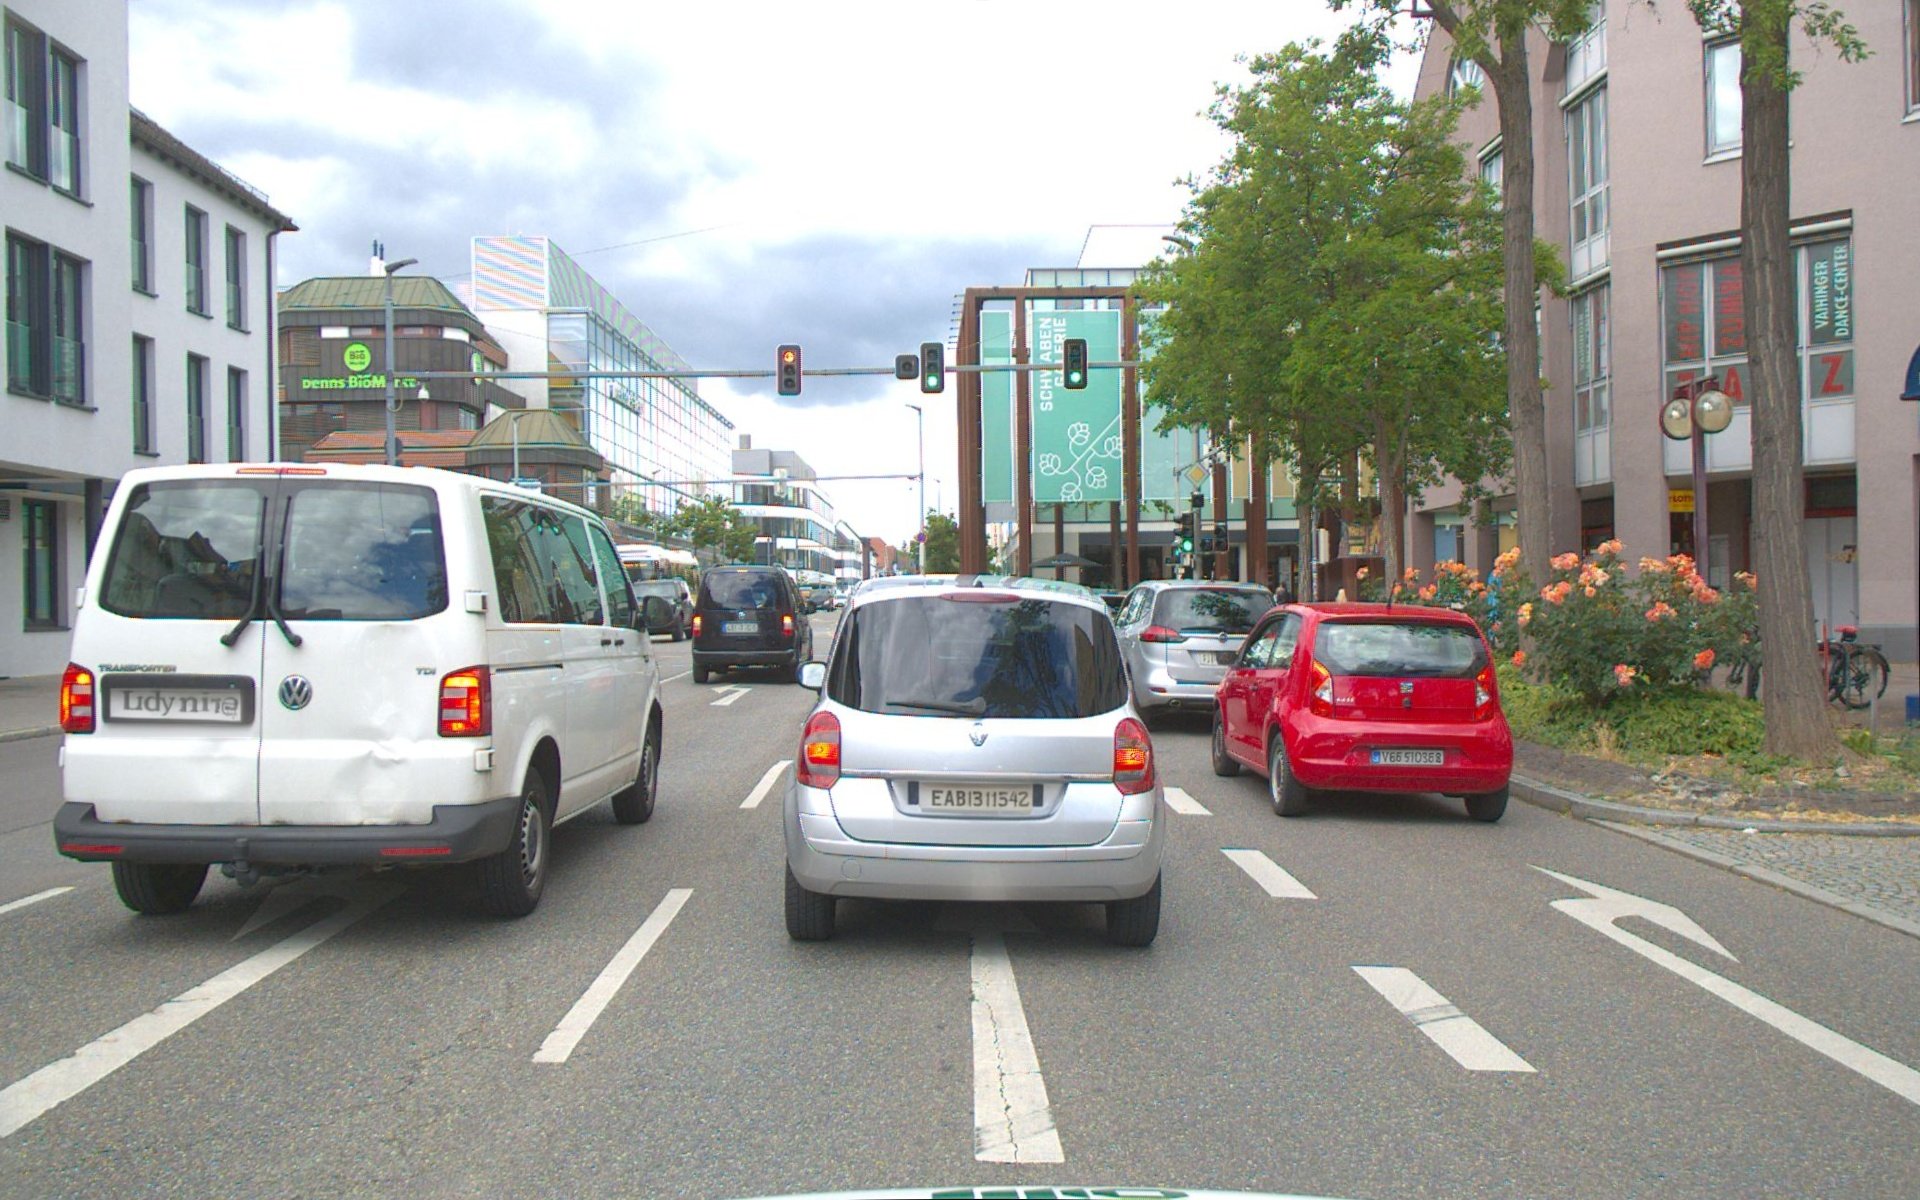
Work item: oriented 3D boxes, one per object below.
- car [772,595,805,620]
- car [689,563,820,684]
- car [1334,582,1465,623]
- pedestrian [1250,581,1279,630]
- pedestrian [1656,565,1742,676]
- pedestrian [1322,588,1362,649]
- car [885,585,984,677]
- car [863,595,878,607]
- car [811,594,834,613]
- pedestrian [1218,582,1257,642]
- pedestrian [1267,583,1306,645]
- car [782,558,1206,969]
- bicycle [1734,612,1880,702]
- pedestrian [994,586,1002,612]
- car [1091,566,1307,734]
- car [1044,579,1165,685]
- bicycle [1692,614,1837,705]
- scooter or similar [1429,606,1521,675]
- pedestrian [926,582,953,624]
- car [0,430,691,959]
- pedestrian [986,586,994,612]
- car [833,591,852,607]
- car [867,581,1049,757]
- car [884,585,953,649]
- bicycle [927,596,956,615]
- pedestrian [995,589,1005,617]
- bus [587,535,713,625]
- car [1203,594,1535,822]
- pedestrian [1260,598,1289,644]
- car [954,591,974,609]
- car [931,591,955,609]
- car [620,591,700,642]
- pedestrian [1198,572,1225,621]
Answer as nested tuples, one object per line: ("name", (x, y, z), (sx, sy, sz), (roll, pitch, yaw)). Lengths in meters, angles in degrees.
("car", (-10.740, 0.457, 103.740), (1.626, 1.491, 4.000), (-2, 0, -1))
("car", (-3.386, 0.348, 27.948), (1.673, 1.852, 4.571), (1, 0, -1))
("car", (15.298, 0.080, 57.662), (4.090, 1.428, 1.799), (0, 0, -4))
("pedestrian", (10.468, 0.174, 56.900), (0.727, 1.654, 0.953), (-1, 0, -4))
("pedestrian", (11.419, 0.307, 25.588), (0.792, 1.654, 1.093), (-1, 0, -3))
("pedestrian", (11.527, 0.558, 49.895), (0.861, 1.798, 1.119), (-1, 0, -4))
("car", (-0.453, 0.508, 29.502), (1.636, 1.521, 3.641), (1, 0, -1))
("car", (-11.459, 0.145, 211.523), (1.626, 1.491, 4.000), (-2, 0, -1))
("car", (-11.525, 0.297, 138.813), (1.626, 1.491, 4.000), (-2, 0, -1))
("pedestrian", (8.043, 0.336, 47.951), (0.861, 1.711, 1.119), (-1, 0, -4))
("pedestrian", (9.528, 0.401, 48.298), (0.861, 1.798, 1.119), (-1, 0, -4))
("car", (0.110, 0.633, 8.311), (1.636, 1.581, 3.641), (1, 0, -1))
("bicycle", (10.452, 0.695, 20.443), (1.541, 1.067, 0.404), (-1, 0, 41))
("pedestrian", (2.293, -0.054, 98.947), (0.418, 1.576, 0.481), (-1, 0, -3))
("car", (2.685, 0.515, 19.539), (1.705, 1.730, 4.378), (1, 0, -3))
("car", (2.529, 0.527, 29.786), (1.704, 1.730, 4.380), (1, 0, -1))
("bicycle", (9.817, 0.707, 20.211), (1.541, 1.067, 0.404), (-1, 0, 41))
("scooter or similar", (8.678, 0.673, 27.931), (0.462, 1.106, 1.878), (-1, 0, -18))
("pedestrian", (-0.822, 0.131, 66.597), (0.854, 1.675, 0.678), (0, 0, 33))
("car", (-2.802, 0.358, 8.904), (1.953, 2.049, 4.839), (1, 0, -1))
("pedestrian", (1.789, -0.063, 98.793), (0.418, 1.576, 0.481), (-1, 0, -3))
("car", (-11.552, -0.119, 163.023), (1.626, 1.491, 4.000), (-2, 0, -1))
("car", (-0.044, 0.620, 16.940), (1.636, 1.581, 3.641), (1, 0, -1))
("car", (-1.035, 0.393, 41.945), (1.636, 1.521, 3.641), (1, 0, -1))
("bicycle", (-0.977, 0.280, 88.047), (1.528, 1.010, 0.752), (-1, 0, 2))
("pedestrian", (1.813, 0.139, 74.562), (0.438, 1.241, 0.607), (-1, 0, 2))
("bus", (-13.205, -0.842, 71.651), (2.926, 3.385, 12.306), (-3, 1, 0))
("car", (2.976, 0.709, 12.764), (1.593, 1.473, 3.641), (1, 0, -1))
("pedestrian", (11.324, 0.742, 59.569), (0.805, 1.623, 1.039), (0, 0, -2))
("car", (0.356, -0.005, 158.187), (1.839, 1.591, 4.000), (1, 0, 0))
("car", (-1.362, -0.042, 132.326), (1.839, 1.358, 4.000), (1, 0, 0))
("car", (-9.103, 0.492, 50.506), (1.723, 1.474, 4.035), (-1, 0, -1))
("pedestrian", (8.719, -0.131, 57.351), (0.727, 1.654, 0.953), (-1, 0, -4))
